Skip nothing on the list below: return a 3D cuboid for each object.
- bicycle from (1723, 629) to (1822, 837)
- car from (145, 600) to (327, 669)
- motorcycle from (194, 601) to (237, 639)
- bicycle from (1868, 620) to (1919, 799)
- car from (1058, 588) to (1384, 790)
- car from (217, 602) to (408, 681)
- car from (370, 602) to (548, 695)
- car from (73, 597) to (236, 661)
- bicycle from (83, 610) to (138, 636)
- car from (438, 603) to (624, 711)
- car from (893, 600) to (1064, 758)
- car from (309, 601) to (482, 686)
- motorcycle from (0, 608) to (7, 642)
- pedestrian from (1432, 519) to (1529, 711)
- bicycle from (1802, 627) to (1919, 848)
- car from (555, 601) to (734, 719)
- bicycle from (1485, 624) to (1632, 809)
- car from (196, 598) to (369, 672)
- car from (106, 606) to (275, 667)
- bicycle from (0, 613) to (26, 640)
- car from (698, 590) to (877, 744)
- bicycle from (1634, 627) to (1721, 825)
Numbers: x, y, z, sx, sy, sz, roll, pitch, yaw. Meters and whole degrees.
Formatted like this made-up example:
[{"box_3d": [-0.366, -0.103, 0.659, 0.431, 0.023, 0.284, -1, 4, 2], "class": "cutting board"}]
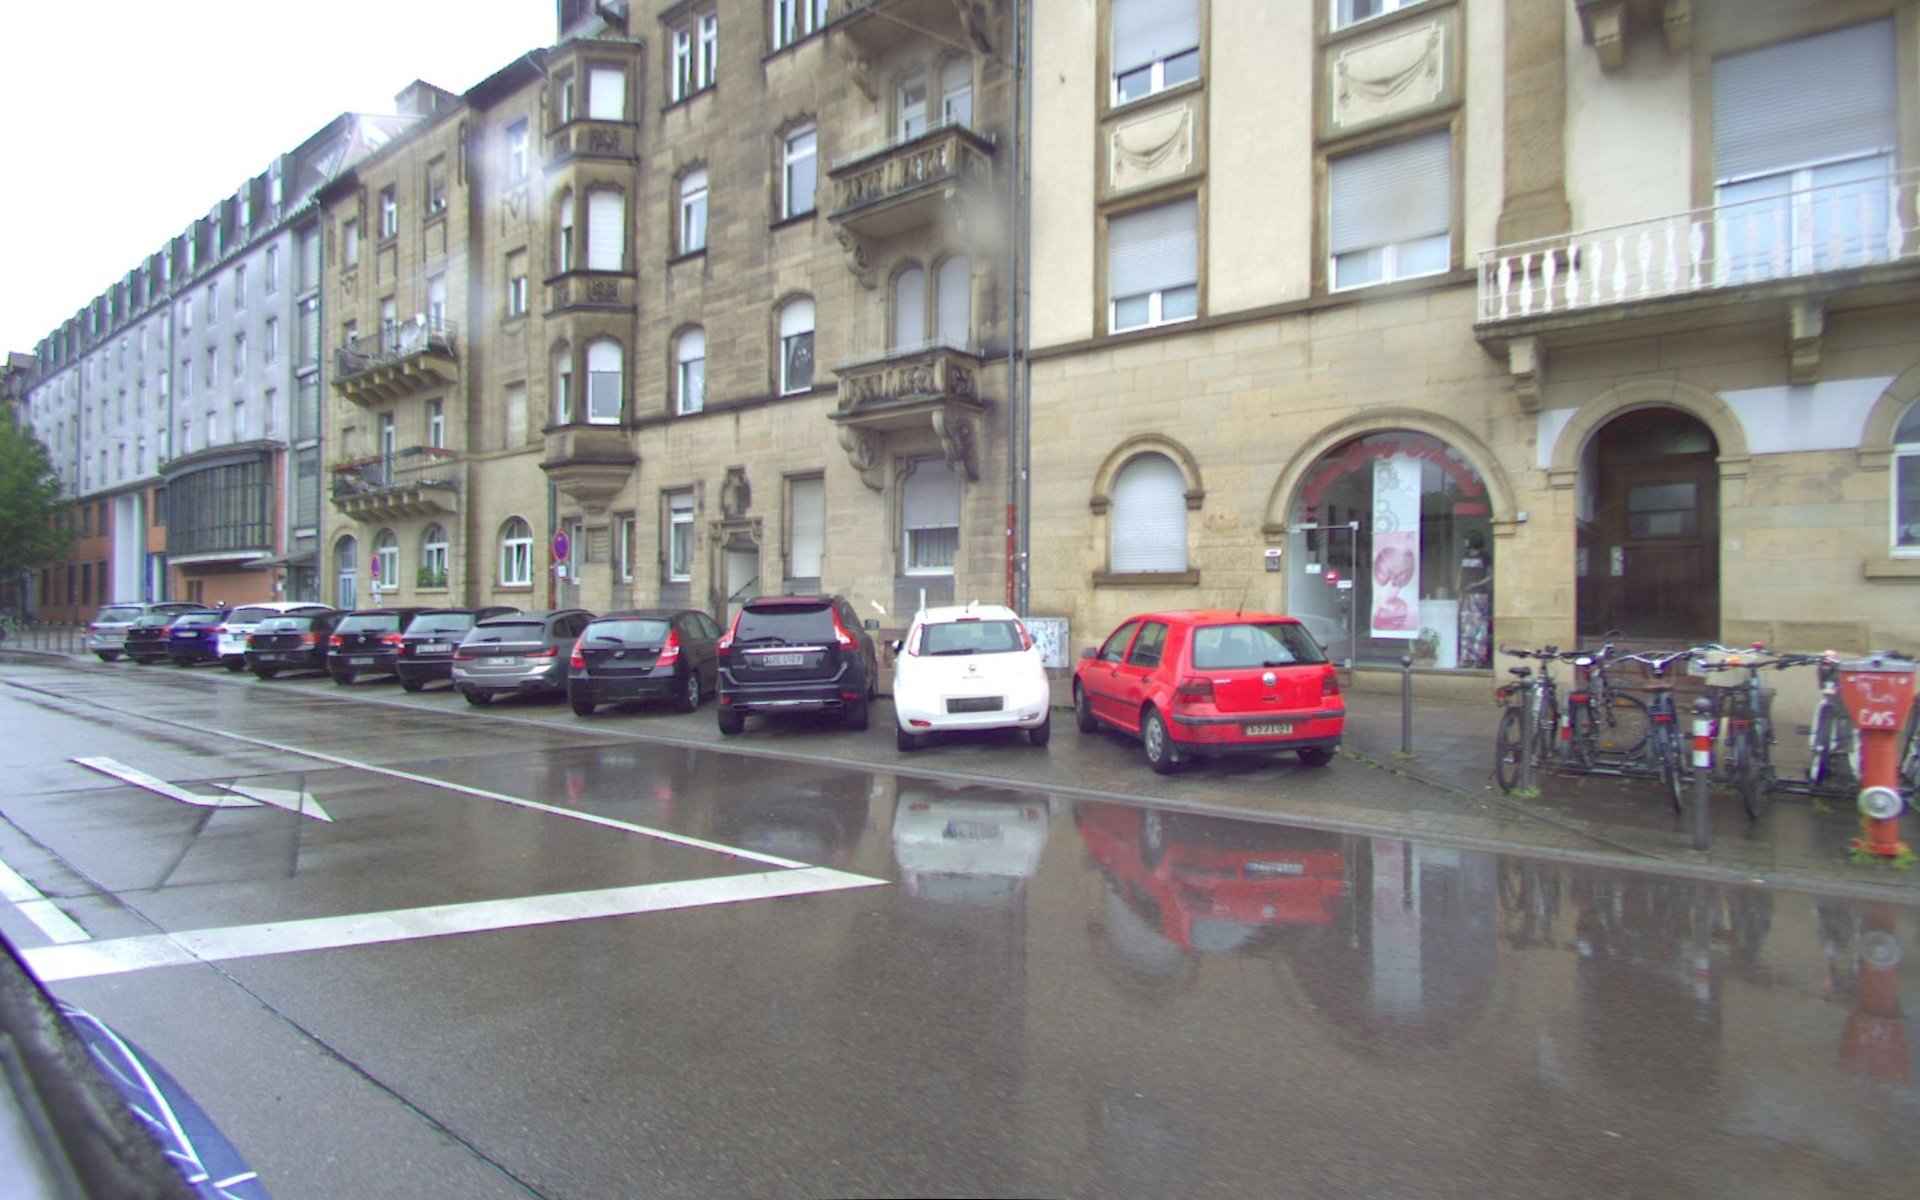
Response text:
[{"box_3d": [5.791, 0.866, 7.265, 0.467, 1.193, 1.794, 0, 2, 36], "class": "bicycle"}, {"box_3d": [-18.915, 0.837, 26.646, 1.880, 1.539, 3.719, 1, 2, 7], "class": "car"}, {"box_3d": [-29.652, 0.802, 40.271, 2.360, 1.474, 0.767, 0, -2, 39], "class": "motorcycle"}, {"box_3d": [7.905, 0.846, 8.120, 0.583, 1.356, 2.040, 0, -1, 33], "class": "bicycle"}, {"box_3d": [2.378, 0.706, 10.358, 1.775, 1.519, 4.008, -2, 2, -8], "class": "car"}, {"box_3d": [-14.326, 0.862, 22.664, 1.755, 1.555, 3.724, -1, 0, 3], "class": "car"}, {"box_3d": [-9.449, 0.849, 19.383, 1.606, 1.555, 3.441, -1, 0, 2], "class": "car"}, {"box_3d": [-23.624, 0.855, 29.889, 1.789, 1.743, 3.925, 1, -1, -3], "class": "car"}, {"box_3d": [-41.776, 1.147, 49.809, 1.873, 1.234, 0.939, 2, -2, -26], "class": "bicycle"}, {"box_3d": [-6.996, 0.863, 16.870, 1.677, 1.555, 3.430, -1, 0, -1], "class": "car"}, {"box_3d": [0.144, 0.786, 12.100, 1.680, 1.545, 3.995, -1, 0, -1], "class": "car"}, {"box_3d": [-11.631, 0.839, 21.138, 1.605, 1.555, 3.760, -1, 0, -2], "class": "car"}, {"box_3d": [-38.164, 0.996, 38.831, 0.757, 1.320, 2.228, 0, 0, 38], "class": "motorcycle"}, {"box_3d": [6.638, 0.194, 12.921, 0.834, 2.357, 0.766, 1, -1, -29], "class": "pedestrian"}, {"box_3d": [6.189, 0.848, 6.947, 0.474, 1.193, 1.963, 0, 2, 35], "class": "bicycle"}, {"box_3d": [-4.632, 0.813, 15.327, 1.677, 1.537, 3.311, -1, 0, 0], "class": "car"}, {"box_3d": [4.850, 0.861, 8.145, 0.600, 1.193, 1.790, -1, 3, 44], "class": "bicycle"}, {"box_3d": [-16.606, 0.799, 25.037, 1.754, 1.639, 3.727, -1, 0, 0], "class": "car"}, {"box_3d": [-21.168, 0.994, 28.032, 1.695, 1.539, 3.723, 1, -1, 3], "class": "car"}, {"box_3d": [-38.976, 1.081, 40.914, 0.543, 1.081, 1.669, 0, 1, 35], "class": "bicycle"}, {"box_3d": [-2.113, 0.734, 13.442, 1.739, 1.705, 4.086, -1, 0, -1], "class": "car"}, {"box_3d": [5.410, 0.865, 7.605, 0.474, 1.193, 1.794, 0, 3, 37], "class": "bicycle"}]
